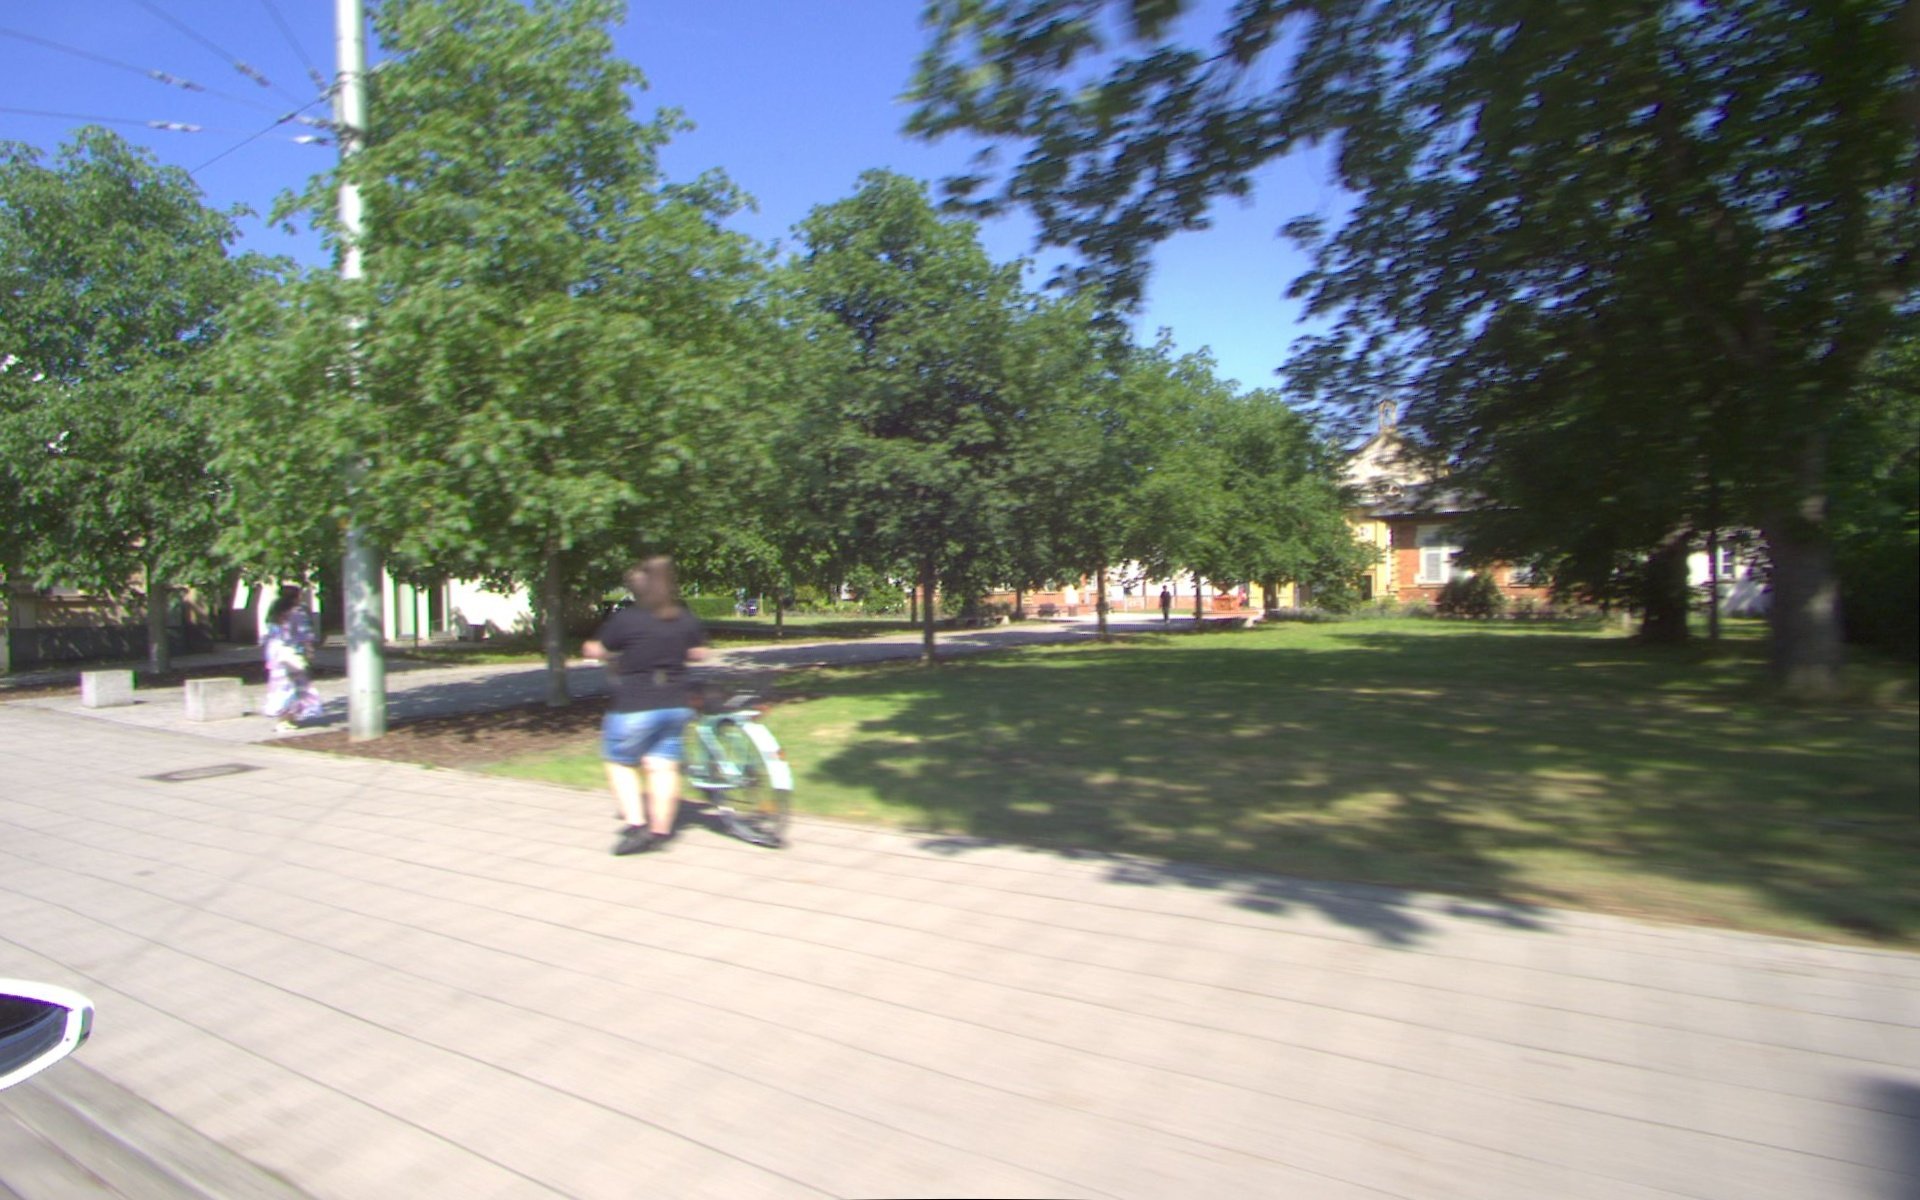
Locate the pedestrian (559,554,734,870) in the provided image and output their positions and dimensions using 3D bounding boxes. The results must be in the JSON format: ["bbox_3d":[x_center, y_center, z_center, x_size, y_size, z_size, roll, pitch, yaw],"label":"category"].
[{"bbox_3d":[-1.673,0.555,5.373,0.654,1.570,0.539,0,4,32],"label":"pedestrian"}]

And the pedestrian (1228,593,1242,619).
[{"bbox_3d":[17.476,0.402,63.696,0.734,1.622,0.619,0,1,25],"label":"pedestrian"}]

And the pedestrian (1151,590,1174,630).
[{"bbox_3d":[8.304,0.396,41.071,0.679,1.622,0.863,0,1,31],"label":"pedestrian"}]

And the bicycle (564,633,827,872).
[{"bbox_3d":[-1.550,0.769,5.669,1.787,1.126,0.533,-1,1,43],"label":"bicycle"}]

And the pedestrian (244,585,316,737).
[{"bbox_3d":[-7.946,0.684,11.699,0.644,1.705,0.702,-2,1,-36],"label":"pedestrian"}]
